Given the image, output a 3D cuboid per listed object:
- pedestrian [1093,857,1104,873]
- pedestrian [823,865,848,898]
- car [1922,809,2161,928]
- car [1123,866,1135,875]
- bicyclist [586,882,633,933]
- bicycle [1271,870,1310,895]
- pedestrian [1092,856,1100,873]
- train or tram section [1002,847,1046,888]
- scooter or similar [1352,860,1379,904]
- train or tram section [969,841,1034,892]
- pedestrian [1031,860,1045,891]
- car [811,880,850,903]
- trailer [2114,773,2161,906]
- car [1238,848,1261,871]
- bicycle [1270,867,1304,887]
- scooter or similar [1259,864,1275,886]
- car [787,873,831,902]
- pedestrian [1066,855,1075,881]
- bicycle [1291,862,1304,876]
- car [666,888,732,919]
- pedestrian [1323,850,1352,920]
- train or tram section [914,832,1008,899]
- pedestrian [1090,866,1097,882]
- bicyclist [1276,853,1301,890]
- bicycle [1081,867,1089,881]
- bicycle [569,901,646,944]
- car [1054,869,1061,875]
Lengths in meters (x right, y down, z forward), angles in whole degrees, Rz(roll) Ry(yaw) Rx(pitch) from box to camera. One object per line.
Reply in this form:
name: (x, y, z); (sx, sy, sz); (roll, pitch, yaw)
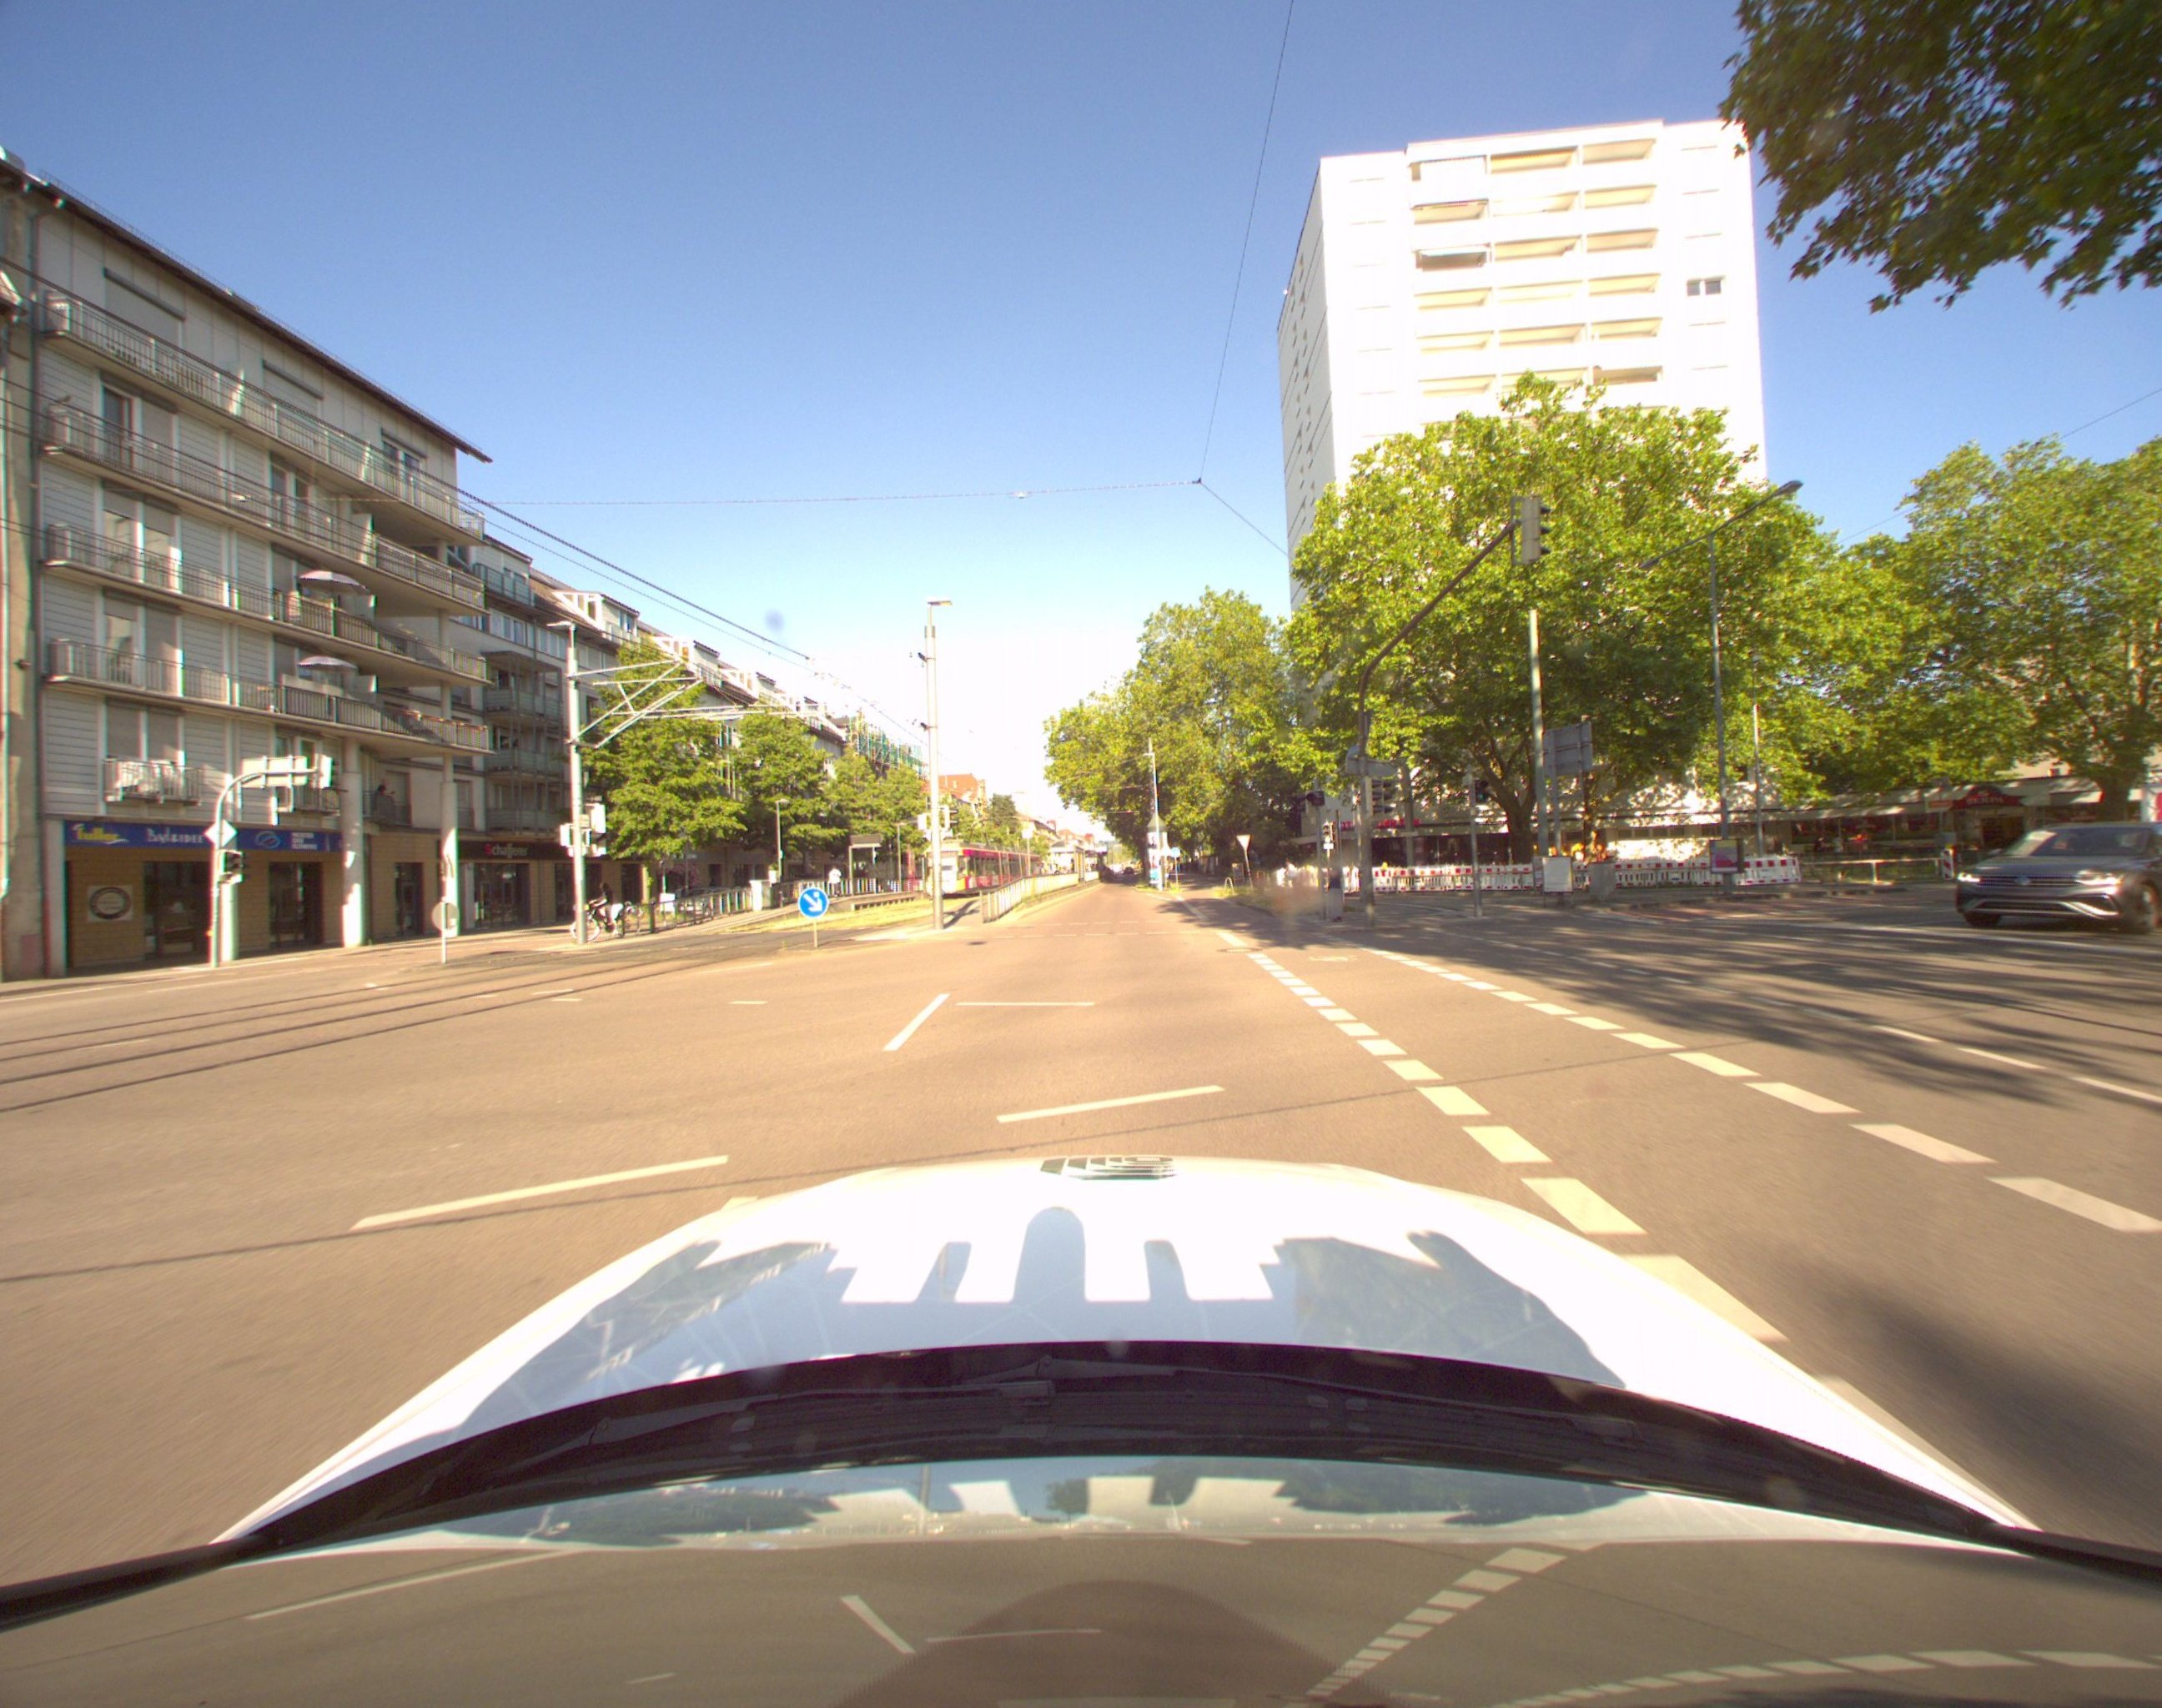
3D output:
pedestrian: (1.836, 1.140, 86.419); (0.913, 1.722, 0.625); (0, -2, -30)
pedestrian: (-11.743, 1.309, 38.969); (0.896, 1.581, 0.958); (-1, -1, 1)
car: (15.948, 0.205, 12.846); (4.578, 1.640, 1.924); (0, -1, -18)
car: (8.617, 2.964, 146.153); (1.985, 1.684, 4.004); (-1, -1, 4)
bicyclist: (-13.386, 1.496, 23.137); (0.528, 1.372, 1.025); (-2, -1, 32)
bicycle: (8.954, 1.228, 34.895); (0.606, 1.026, 1.752); (-2, -1, -24)
pedestrian: (1.539, 1.141, 84.711); (0.761, 1.759, 0.695); (-1, -1, 3)
train or tram section: (-5.483, 1.303, 80.240); (2.857, 3.686, 9.694); (-3, -1, 4)
scooter or similar: (8.667, 0.840, 24.836); (0.557, 1.257, 1.294); (-4, -2, 12)
train or tram section: (-6.373, 1.076, 68.146); (2.857, 3.686, 14.575); (-3, -1, 4)
pedestrian: (-2.264, 1.130, 43.244); (0.627, 1.610, 0.983); (-1, -1, 2)
car: (-20.528, 3.041, 66.850); (1.798, 1.729, 3.788); (-1, -1, 4)
trailer: (21.566, -0.344, 14.851); (4.514, 2.373, 1.902); (-2, -1, -18)
car: (19.573, 0.679, 94.830); (1.983, 2.499, 6.357); (-1, -1, 6)
bicycle: (11.204, 1.259, 44.333); (0.606, 1.026, 1.935); (-2, 0, -28)
scooter or similar: (10.749, 1.218, 47.034); (0.558, 1.257, 1.290); (-3, -2, 0)
car: (-20.868, 2.525, 62.600); (1.932, 2.166, 3.788); (-1, -1, 4)
pedestrian: (-0.787, 1.056, 61.125); (0.666, 1.902, 0.825); (-1, -1, 3)
bicycle: (19.137, 1.330, 72.040); (0.785, 1.178, 1.822); (-1, -1, 4)
car: (-21.905, 2.827, 46.862); (1.798, 1.578, 3.788); (-1, -1, 4)
pedestrian: (6.137, 0.736, 19.481); (0.426, 1.639, 0.612); (-1, -1, -4)
train or tram section: (-7.469, 0.805, 53.633); (2.857, 3.676, 14.575); (-3, -1, 4)
pedestrian: (1.231, 1.991, 81.043); (0.675, 1.562, 0.852); (-1, -1, 3)
bicyclist: (8.906, 0.767, 34.954); (0.606, 1.551, 0.853); (-2, -2, -25)
bicycle: (0.310, 1.650, 67.810); (0.511, 1.133, 2.105); (-1, -1, 4)
bicycle: (-13.389, 1.918, 23.091); (0.528, 1.054, 1.836); (-2, -1, 32)
car: (-7.339, 5.800, 255.926); (2.007, 1.754, 4.562); (-1, 0, 3)
